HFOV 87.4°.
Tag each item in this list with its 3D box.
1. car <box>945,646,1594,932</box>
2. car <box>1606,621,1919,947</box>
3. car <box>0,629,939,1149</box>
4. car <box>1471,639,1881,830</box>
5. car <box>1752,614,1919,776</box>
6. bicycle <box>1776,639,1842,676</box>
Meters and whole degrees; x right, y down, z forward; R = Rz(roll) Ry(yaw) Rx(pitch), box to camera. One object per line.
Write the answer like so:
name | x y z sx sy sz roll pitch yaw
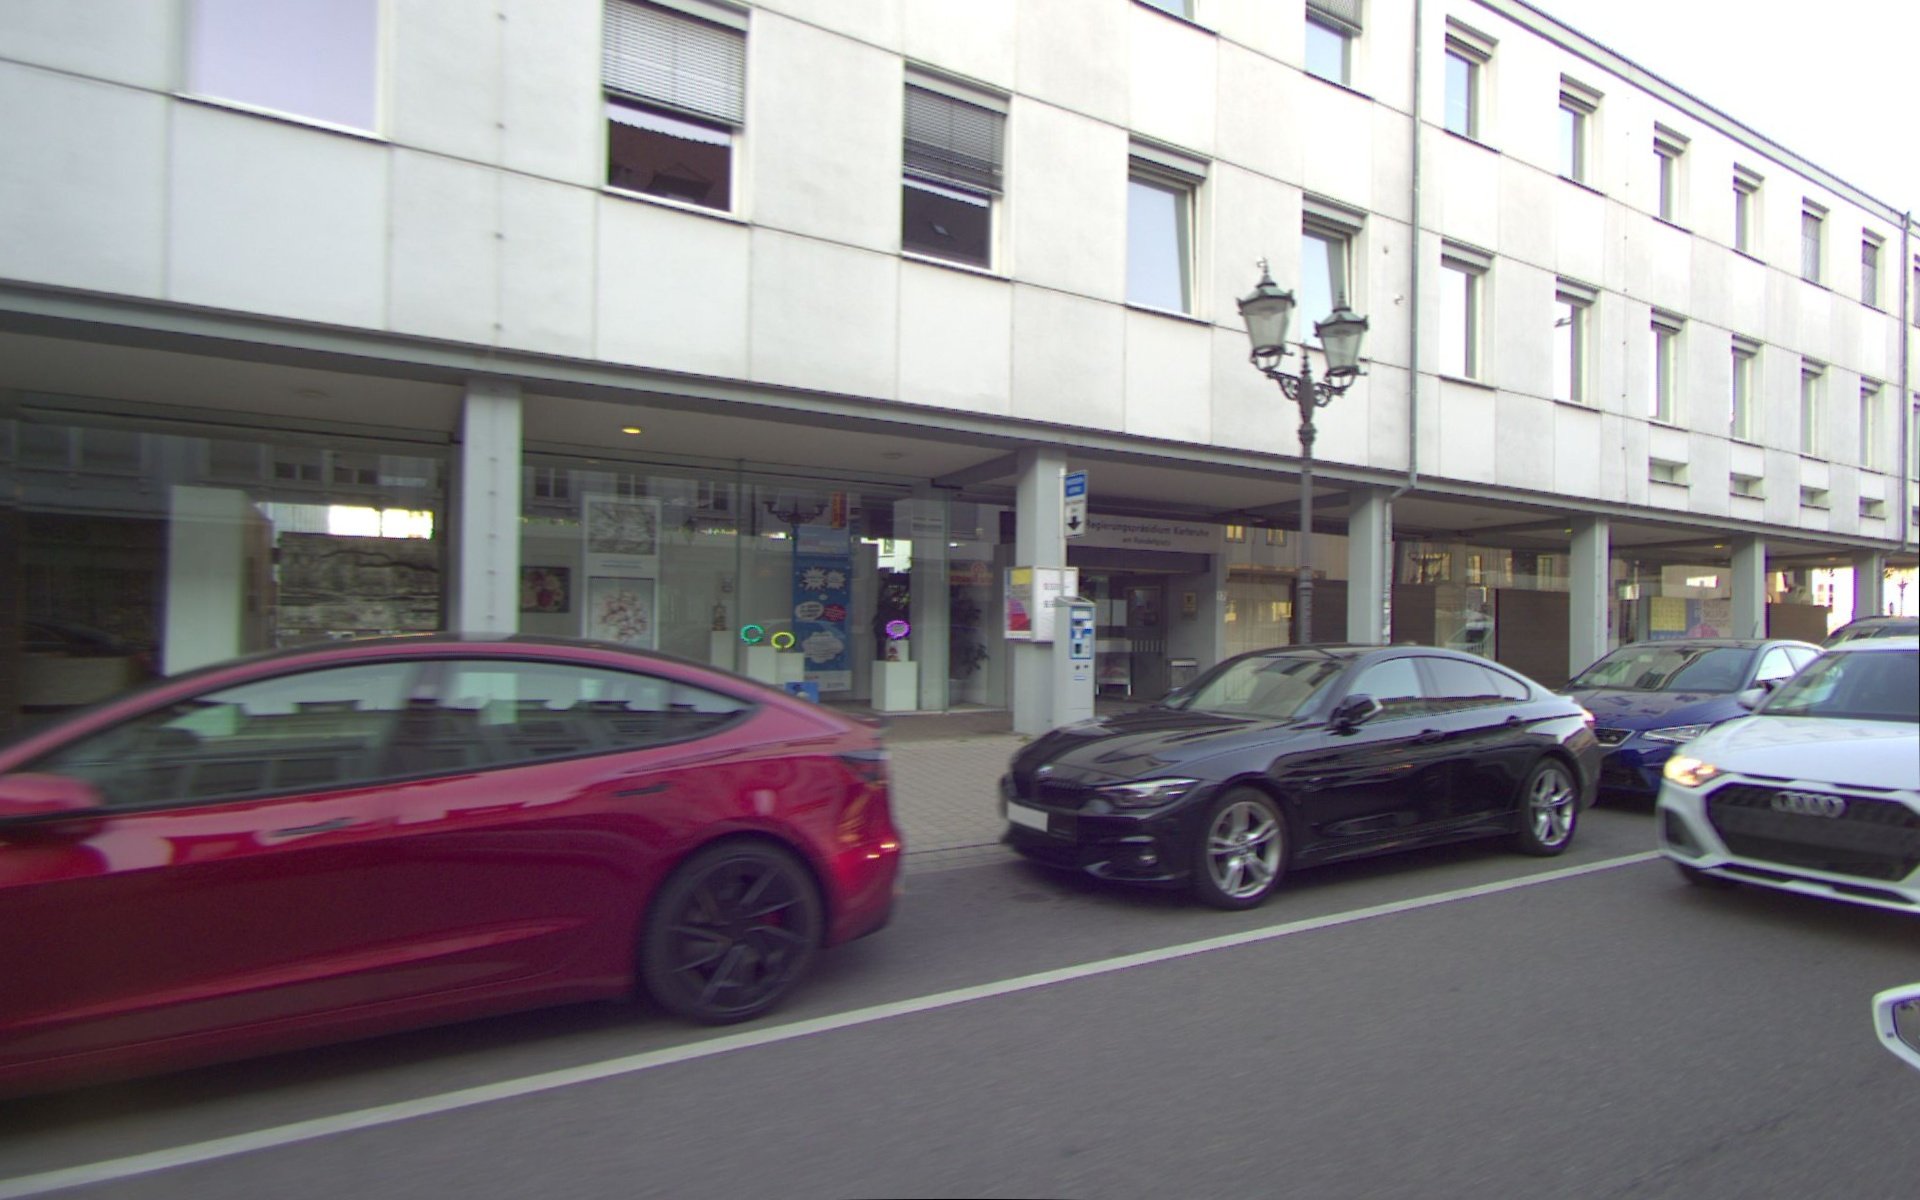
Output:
car | 2.094 1.012 6.724 3.952 1.371 1.985 1 -4 -29
car | 5.754 0.872 5.821 3.952 1.440 1.756 1 -2 -30
car | -2.277 0.852 4.052 4.038 1.427 1.777 1 -1 -29
car | 6.709 1.088 9.329 3.954 1.418 1.665 1 -2 -31
car | 12.065 1.097 12.461 4.461 1.751 1.985 1 -2 -30
bicycle | 23.836 1.603 28.184 2.309 0.997 0.729 2 0 -31
